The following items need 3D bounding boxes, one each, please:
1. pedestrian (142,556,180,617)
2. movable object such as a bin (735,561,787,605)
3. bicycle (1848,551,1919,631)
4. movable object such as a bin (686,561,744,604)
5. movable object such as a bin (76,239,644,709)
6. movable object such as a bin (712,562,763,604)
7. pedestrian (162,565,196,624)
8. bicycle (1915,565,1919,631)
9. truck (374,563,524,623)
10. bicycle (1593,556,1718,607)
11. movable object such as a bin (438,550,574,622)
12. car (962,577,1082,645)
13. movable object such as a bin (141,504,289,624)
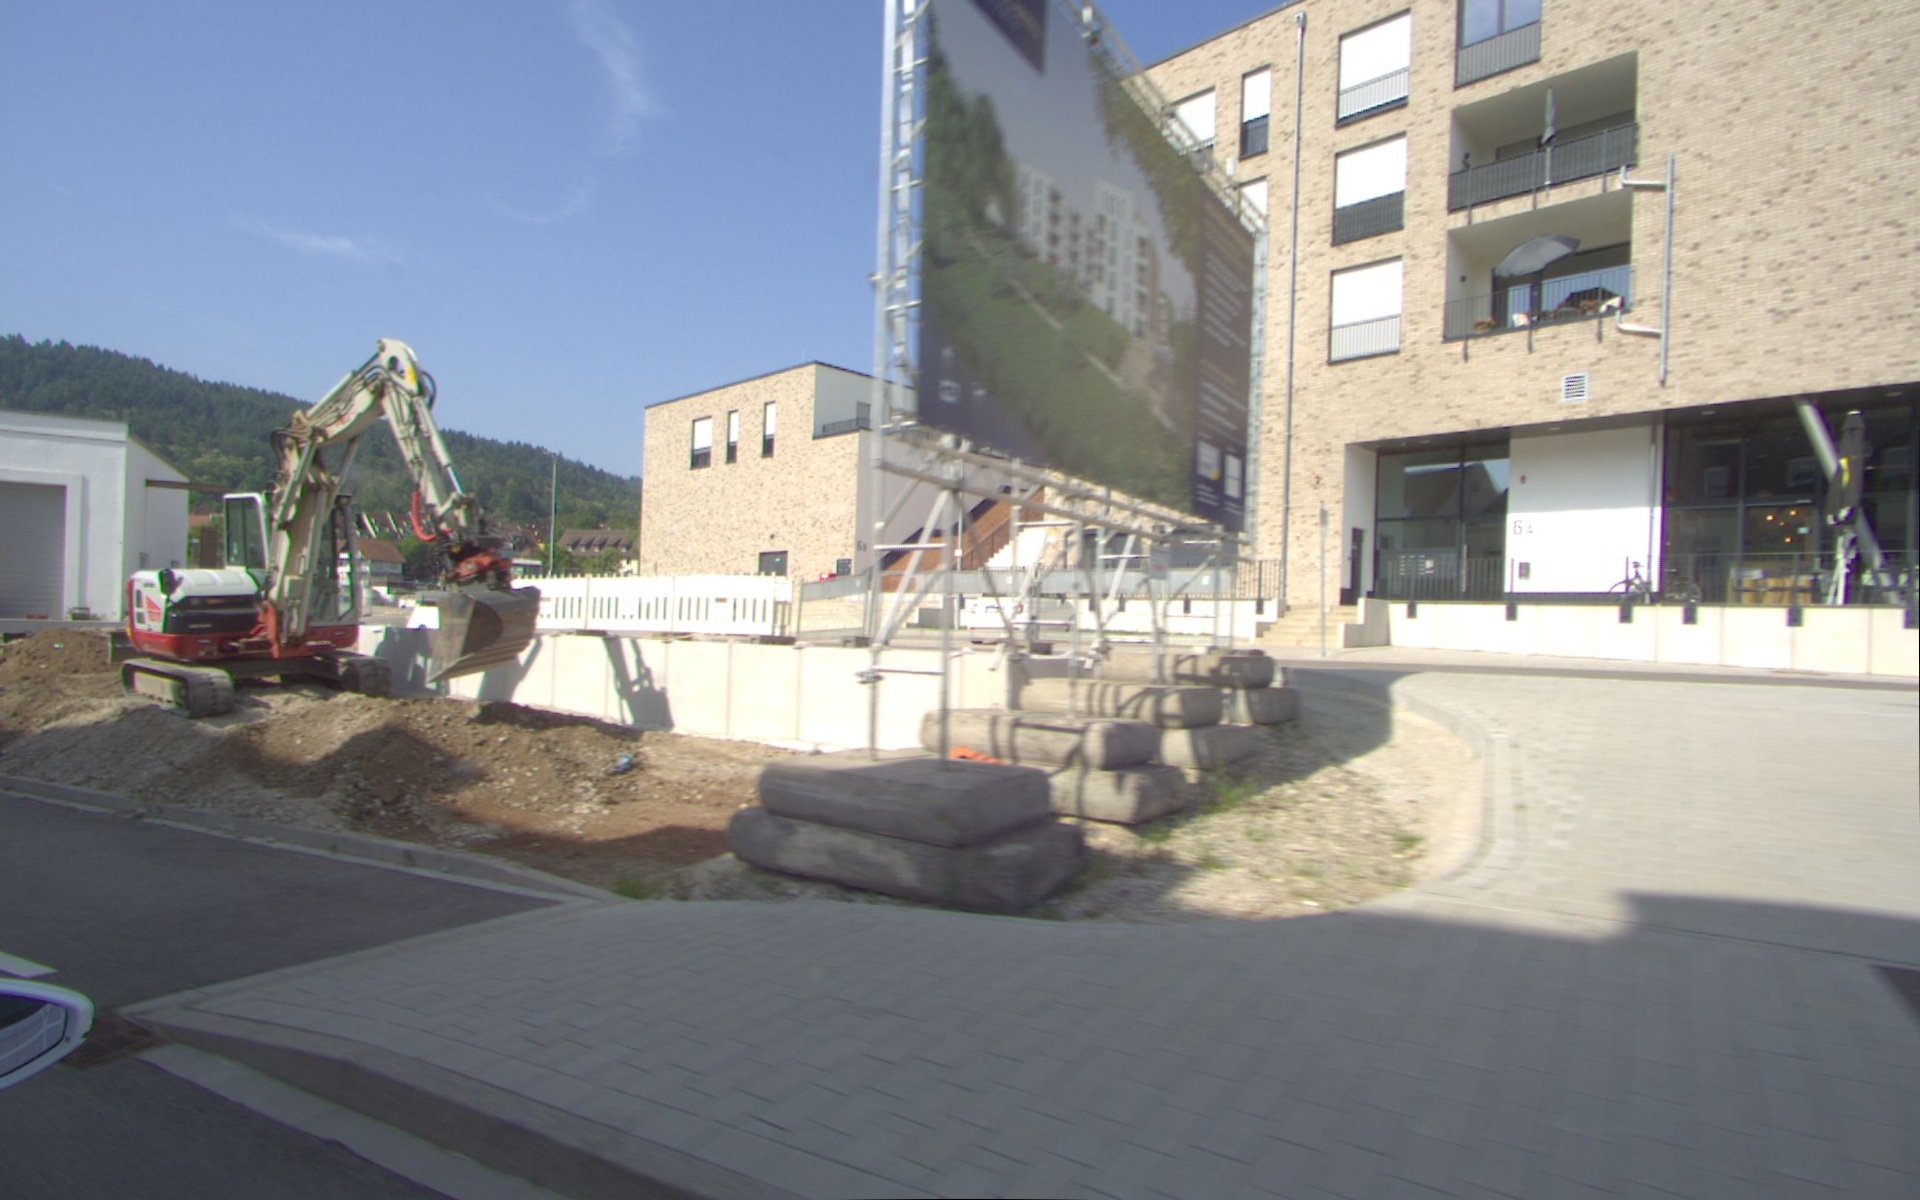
[{"bbox_3d":[-26.194,-0.418,32.831,0.624,1.920,0.607,4,-2,-13],"label":"pedestrian"},{"bbox_3d":[-7.411,-0.625,37.334,1.304,1.482,1.295,2,-3,40],"label":"movable object such as a bin"},{"bbox_3d":[16.078,-0.124,17.197,0.844,1.158,2.236,2,-3,32],"label":"bicycle"},{"bbox_3d":[-9.625,-0.680,39.325,1.304,1.482,1.687,2,-3,40],"label":"movable object such as a bin"},{"bbox_3d":[-7.136,-0.992,11.374,7.690,3.900,2.292,1,-4,34],"label":"movable object such as a bin"},{"bbox_3d":[-8.507,-0.650,38.355,1.304,1.482,1.295,2,-3,40],"label":"movable object such as a bin"},{"bbox_3d":[-26.414,-0.175,33.882,0.626,1.920,0.606,5,-2,-22],"label":"pedestrian"},{"bbox_3d":[16.773,-0.103,16.638,0.844,1.158,2.236,2,-3,32],"label":"bicycle"},{"bbox_3d":[-20.933,-0.228,41.122,5.263,2.295,2.204,1,-1,-34],"label":"truck"},{"bbox_3d":[15.704,-0.416,22.657,2.221,1.057,0.688,1,-4,45],"label":"bicycle"},{"bbox_3d":[-17.723,-0.487,39.132,4.568,2.603,1.912,1,0,-35],"label":"movable object such as a bin"},{"bbox_3d":[1.550,0.290,23.986,1.570,1.514,3.402,0,-1,29],"label":"car"},{"bbox_3d":[-26.192,-1.091,35.512,2.816,3.666,5.715,5,-3,-25],"label":"movable object such as a bin"}]
